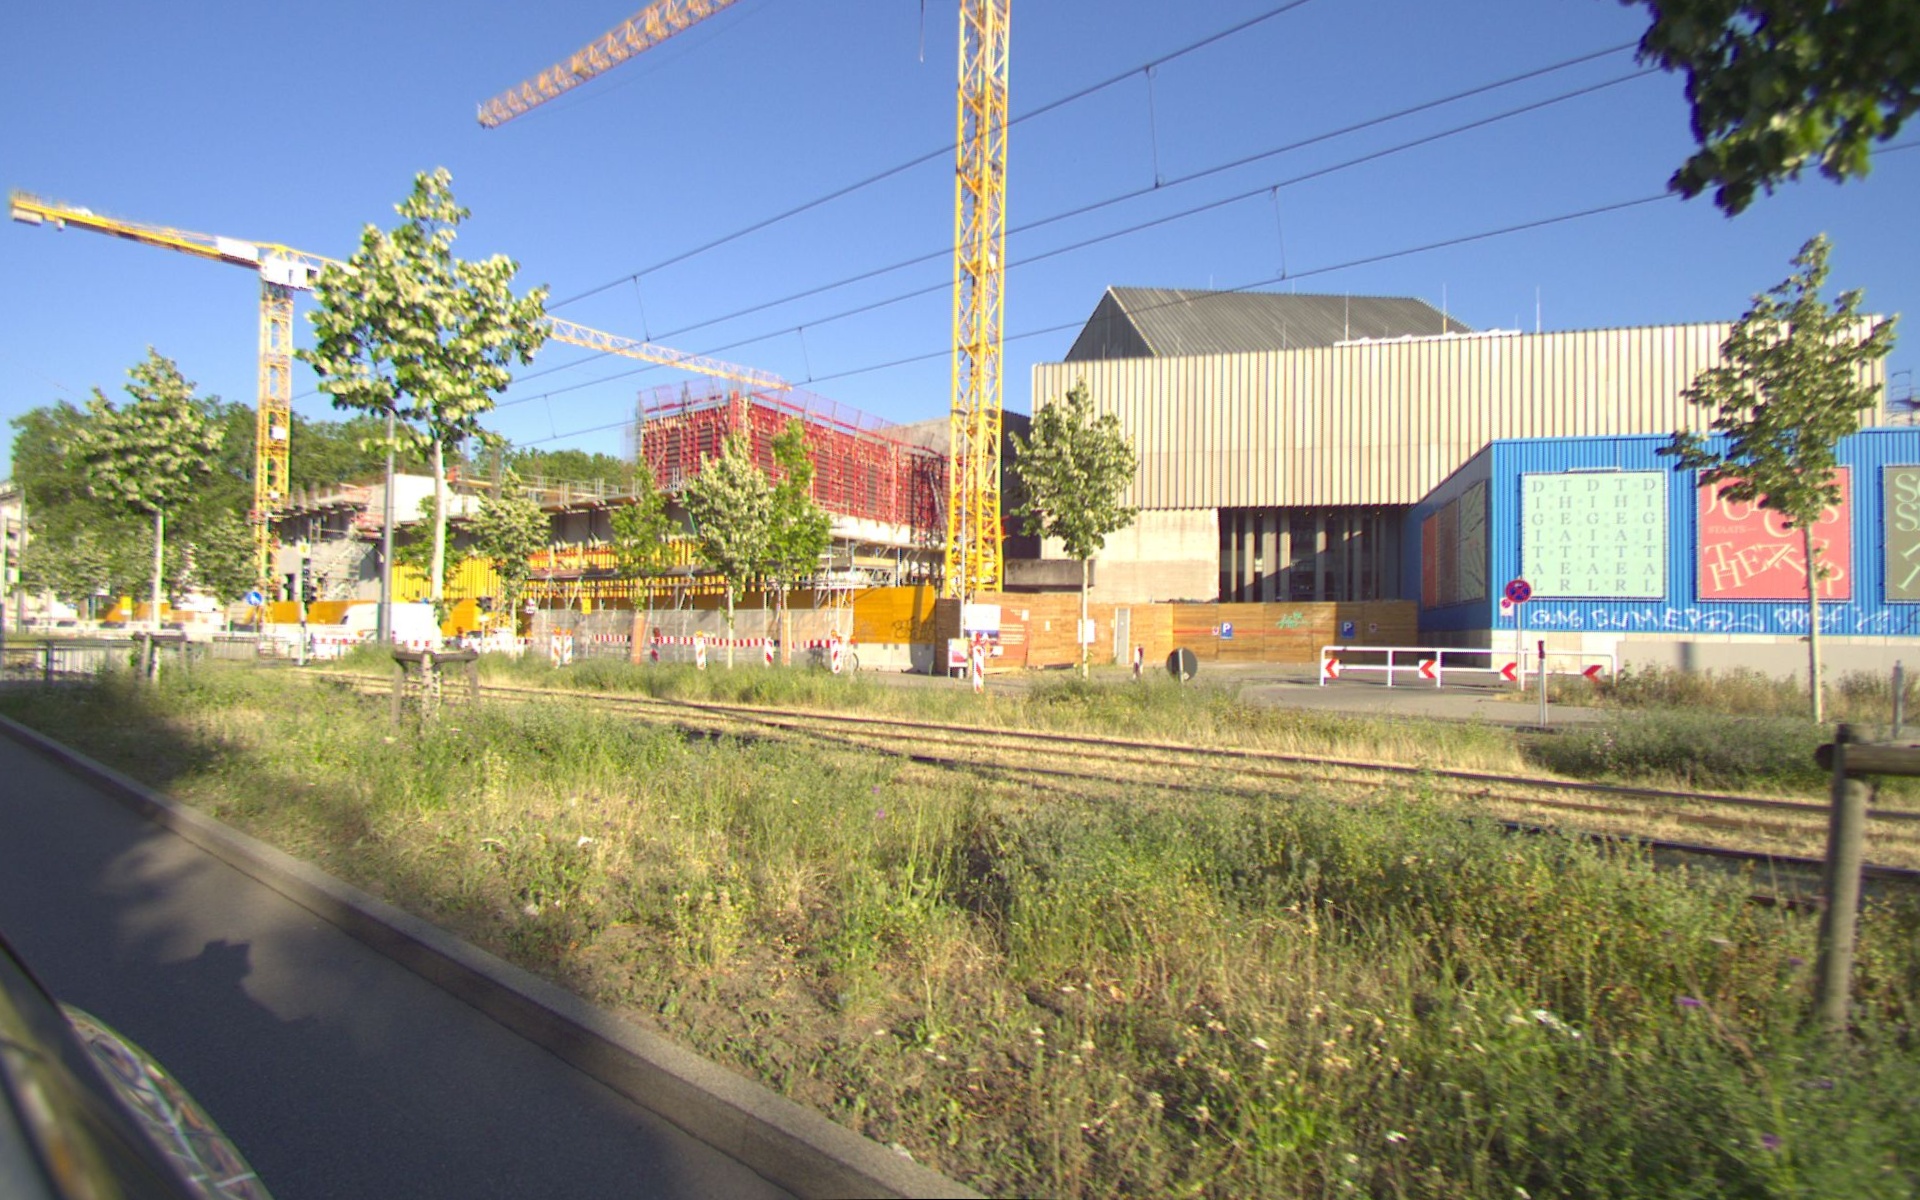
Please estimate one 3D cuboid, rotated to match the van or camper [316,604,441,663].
[{"bbox_3d":[-26.859,1.573,46.608,7.186,2.529,2.201,-2,-5,36],"label":"van or camper"}]
